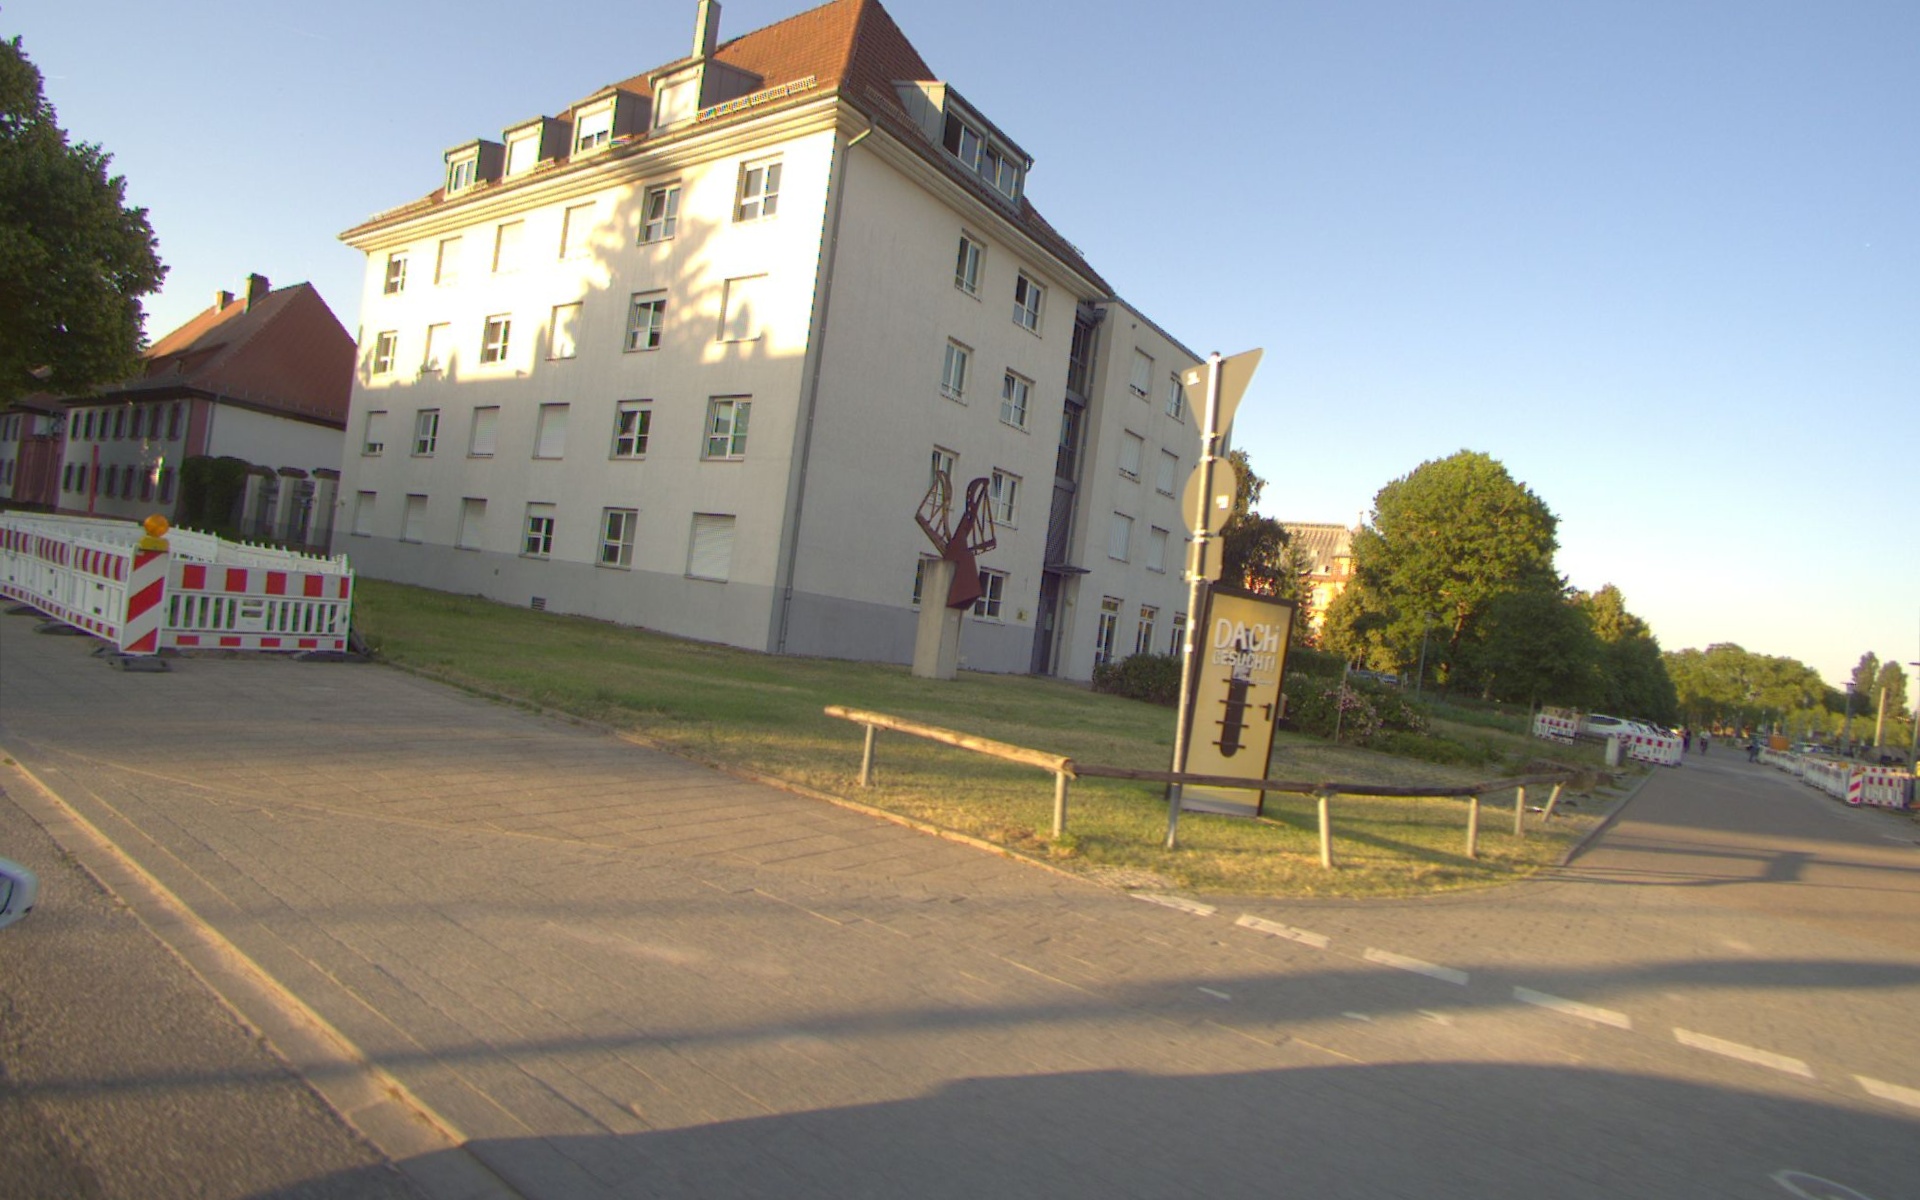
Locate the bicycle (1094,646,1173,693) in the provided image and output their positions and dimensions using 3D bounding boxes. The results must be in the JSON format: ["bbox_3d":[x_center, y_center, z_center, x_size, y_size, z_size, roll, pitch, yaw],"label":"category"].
[{"bbox_3d":[5.226,2.083,30.325,2.166,1.103,0.689,6,-1,37],"label":"bicycle"}]

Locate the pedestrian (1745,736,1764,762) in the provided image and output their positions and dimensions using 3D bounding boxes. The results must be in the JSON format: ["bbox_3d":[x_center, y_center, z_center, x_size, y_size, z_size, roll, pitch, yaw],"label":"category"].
[{"bbox_3d":[51.847,9.740,65.681,0.787,1.546,0.625,7,-1,34],"label":"pedestrian"}]

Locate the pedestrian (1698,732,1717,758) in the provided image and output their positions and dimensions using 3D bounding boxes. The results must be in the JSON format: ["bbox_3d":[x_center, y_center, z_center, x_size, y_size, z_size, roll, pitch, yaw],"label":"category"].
[{"bbox_3d":[48.730,9.438,65.589,0.827,1.546,1.037,7,-1,35],"label":"pedestrian"}]

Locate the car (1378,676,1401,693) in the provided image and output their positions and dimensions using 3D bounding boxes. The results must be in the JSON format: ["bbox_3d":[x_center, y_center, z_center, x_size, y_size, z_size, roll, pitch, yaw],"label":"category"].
[{"bbox_3d":[46.761,9.212,109.504,1.747,1.583,4.263,6,-1,30],"label":"car"}]

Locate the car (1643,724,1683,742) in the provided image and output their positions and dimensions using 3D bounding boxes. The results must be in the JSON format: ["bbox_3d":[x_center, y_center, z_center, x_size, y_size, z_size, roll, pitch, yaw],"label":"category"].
[{"bbox_3d":[91.478,17.355,131.012,4.129,1.627,1.727,6,-2,35],"label":"car"}]

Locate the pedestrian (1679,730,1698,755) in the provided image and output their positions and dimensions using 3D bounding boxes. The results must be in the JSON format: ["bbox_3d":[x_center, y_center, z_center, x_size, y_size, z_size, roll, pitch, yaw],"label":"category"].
[{"bbox_3d":[47.895,9.369,66.166,0.827,1.546,1.037,7,-1,35],"label":"pedestrian"}]

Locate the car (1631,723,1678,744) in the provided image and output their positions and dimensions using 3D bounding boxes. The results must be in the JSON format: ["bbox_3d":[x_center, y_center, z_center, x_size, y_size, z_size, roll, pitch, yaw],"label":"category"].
[{"bbox_3d":[77.557,14.875,112.330,4.129,1.627,1.727,6,-2,35],"label":"car"}]

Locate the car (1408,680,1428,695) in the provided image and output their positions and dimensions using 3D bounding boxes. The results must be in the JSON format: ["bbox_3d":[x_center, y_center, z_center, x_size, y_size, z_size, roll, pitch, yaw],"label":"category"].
[{"bbox_3d":[58.110,11.120,127.667,1.747,1.583,4.263,6,-1,30],"label":"car"}]

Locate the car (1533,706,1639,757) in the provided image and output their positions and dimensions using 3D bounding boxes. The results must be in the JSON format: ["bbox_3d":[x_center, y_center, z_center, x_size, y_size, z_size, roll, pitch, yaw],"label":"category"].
[{"bbox_3d":[30.336,6.339,48.797,4.129,1.779,1.727,6,-1,35],"label":"car"}]

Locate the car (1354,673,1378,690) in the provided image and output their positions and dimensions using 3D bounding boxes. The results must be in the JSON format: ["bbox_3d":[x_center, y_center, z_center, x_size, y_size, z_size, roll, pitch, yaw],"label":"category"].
[{"bbox_3d":[44.767,8.999,110.974,1.747,1.583,4.263,6,-1,30],"label":"car"}]

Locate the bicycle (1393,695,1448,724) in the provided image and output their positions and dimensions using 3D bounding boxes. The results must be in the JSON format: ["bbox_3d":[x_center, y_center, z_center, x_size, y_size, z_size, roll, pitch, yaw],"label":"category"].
[{"bbox_3d":[18.421,4.378,40.245,1.768,0.928,0.789,6,-1,39],"label":"bicycle"}]

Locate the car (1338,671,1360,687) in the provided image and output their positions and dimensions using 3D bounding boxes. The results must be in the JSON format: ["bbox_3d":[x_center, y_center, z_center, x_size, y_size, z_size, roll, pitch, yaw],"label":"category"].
[{"bbox_3d":[47.446,9.648,122.762,1.747,1.583,4.263,6,-1,30],"label":"car"}]

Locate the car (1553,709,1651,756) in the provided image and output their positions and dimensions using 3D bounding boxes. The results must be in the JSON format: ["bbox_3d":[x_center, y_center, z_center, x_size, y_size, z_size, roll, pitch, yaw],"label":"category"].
[{"bbox_3d":[33.680,6.917,52.842,4.129,1.779,1.727,6,-1,35],"label":"car"}]
